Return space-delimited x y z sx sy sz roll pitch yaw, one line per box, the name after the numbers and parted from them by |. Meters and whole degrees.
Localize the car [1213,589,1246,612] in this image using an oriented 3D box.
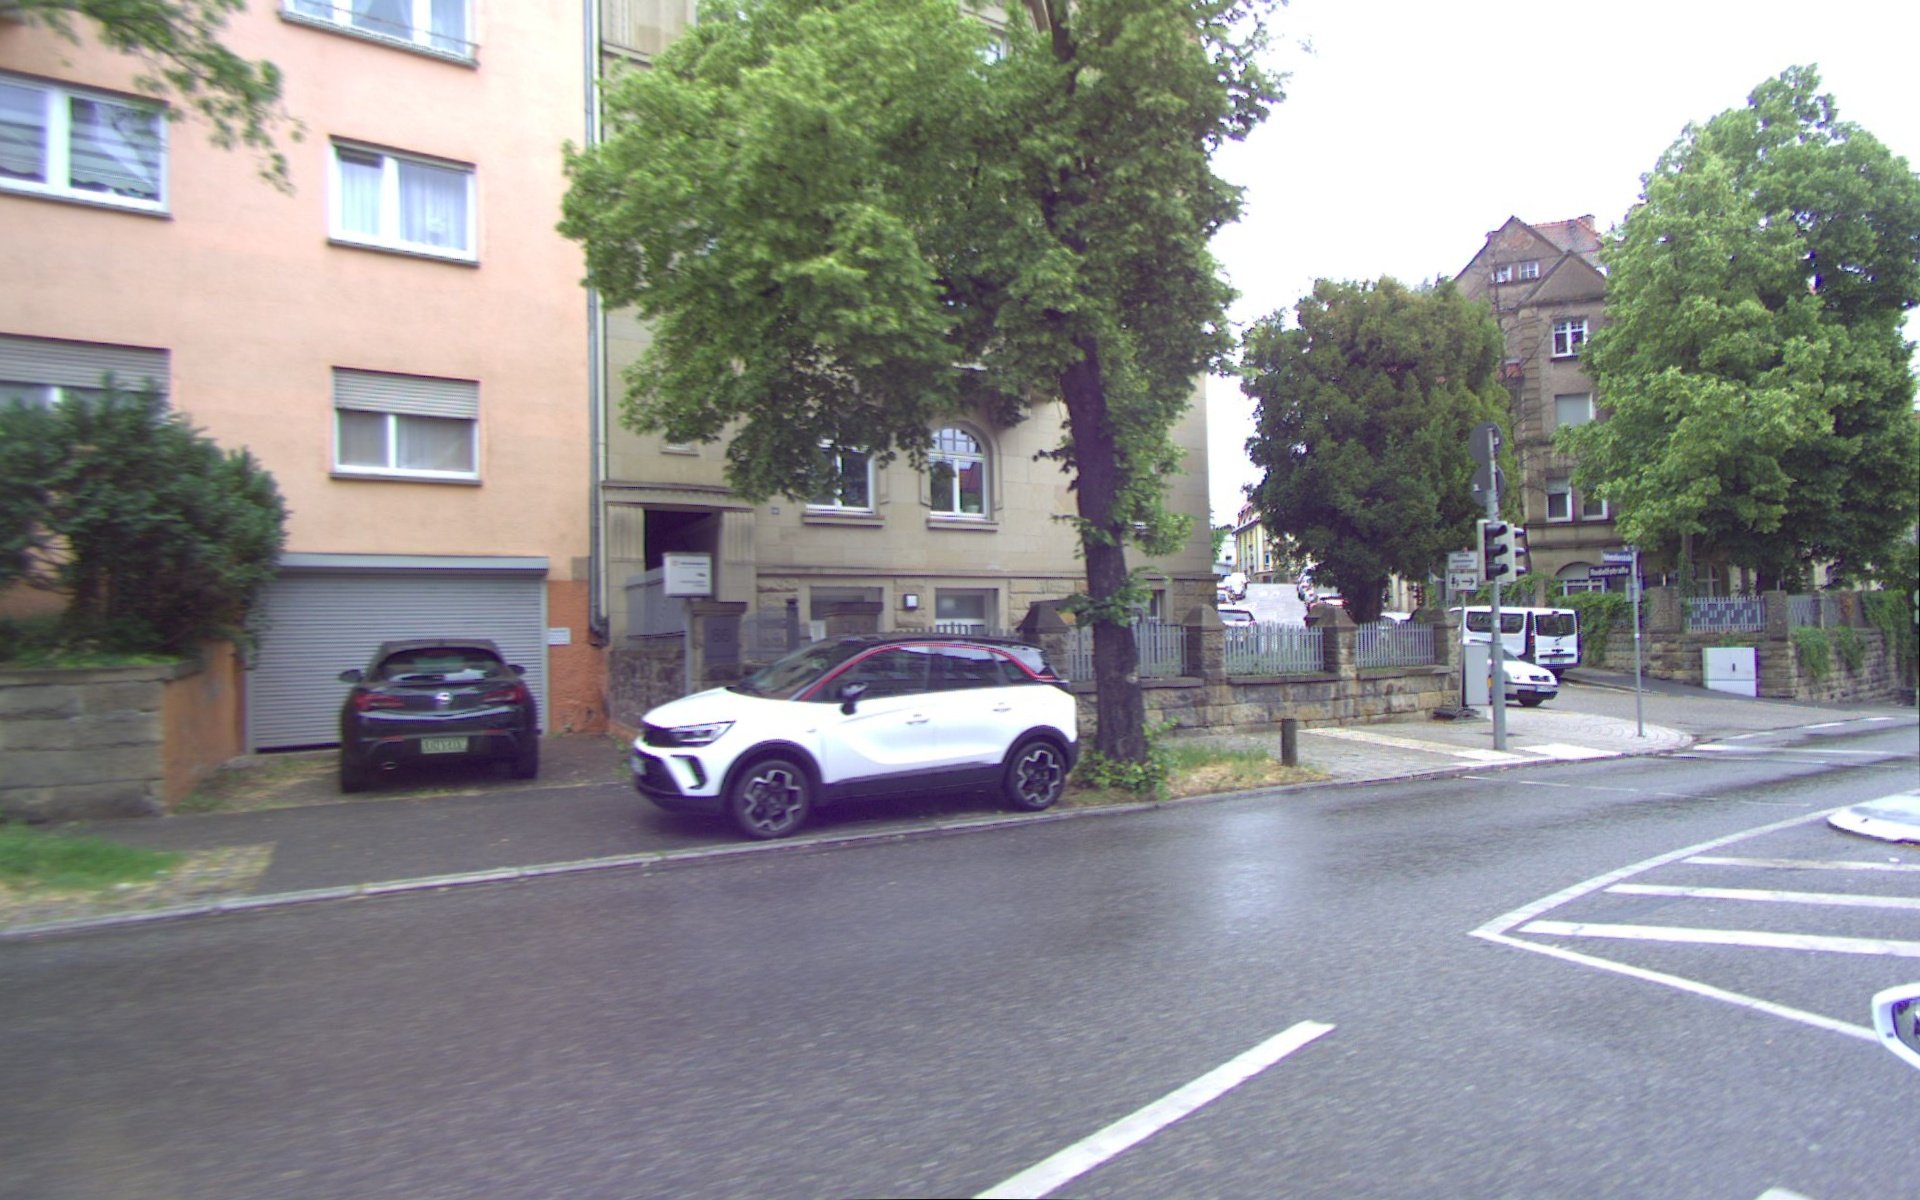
20.223 0.035 75.243 2.071 1.427 4.445 4 -1 18 | car

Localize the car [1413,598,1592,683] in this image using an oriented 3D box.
16.071 1.124 30.070 1.992 2.076 4.661 0 3 -15 | car

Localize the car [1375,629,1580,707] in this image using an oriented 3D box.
11.700 1.505 22.987 1.802 1.427 3.851 4 -1 -25 | car

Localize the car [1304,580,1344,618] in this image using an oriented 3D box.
21.114 -0.037 58.365 1.884 2.038 4.444 4 1 18 | car

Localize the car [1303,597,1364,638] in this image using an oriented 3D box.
16.282 0.732 43.977 1.993 1.556 4.445 4 1 15 | car

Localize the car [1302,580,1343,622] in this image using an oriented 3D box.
19.553 0.024 54.317 1.760 2.068 3.937 4 2 18 | car

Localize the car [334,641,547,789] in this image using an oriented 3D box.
-5.976 1.156 11.374 1.816 1.344 3.967 1 -3 -31 | car

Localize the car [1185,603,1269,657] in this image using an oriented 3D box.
9.452 1.030 35.868 1.882 1.697 4.159 4 -1 1 | car

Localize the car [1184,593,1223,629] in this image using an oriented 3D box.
12.215 0.504 50.184 1.717 1.527 4.159 4 2 15 | car

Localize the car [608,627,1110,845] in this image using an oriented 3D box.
-0.844 1.106 9.259 4.252 1.579 1.733 3 -2 -30 | car

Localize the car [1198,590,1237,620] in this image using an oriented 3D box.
14.259 0.230 55.495 1.813 1.477 4.158 4 2 18 | car

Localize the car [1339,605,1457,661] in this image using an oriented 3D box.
15.375 1.099 35.526 2.072 1.535 4.440 -1 3 -3 | car

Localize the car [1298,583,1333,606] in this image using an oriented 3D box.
24.889 -0.422 70.503 2.071 1.427 4.443 4 2 18 | car

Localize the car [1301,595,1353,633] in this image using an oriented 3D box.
17.873 0.650 49.089 2.071 1.649 4.444 4 1 17 | car
